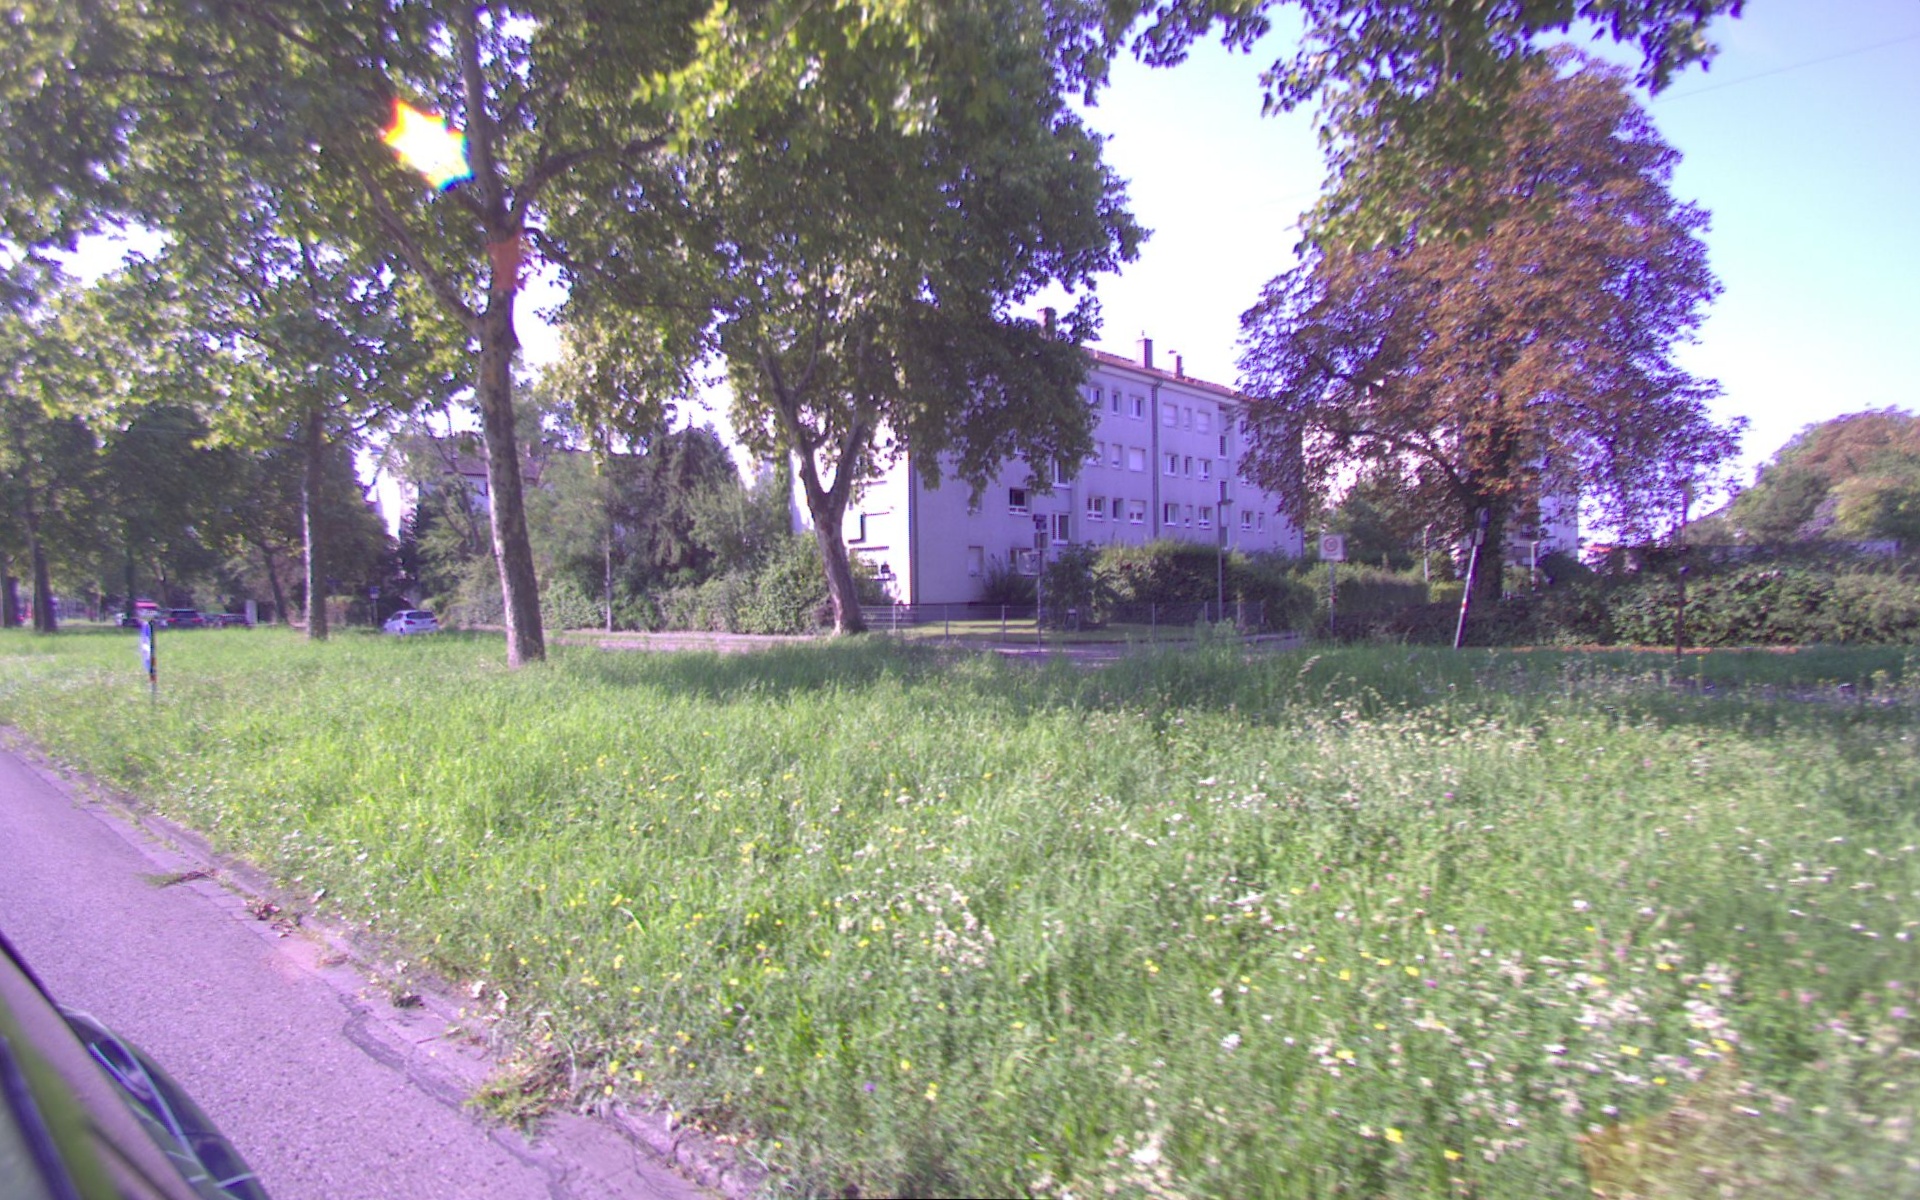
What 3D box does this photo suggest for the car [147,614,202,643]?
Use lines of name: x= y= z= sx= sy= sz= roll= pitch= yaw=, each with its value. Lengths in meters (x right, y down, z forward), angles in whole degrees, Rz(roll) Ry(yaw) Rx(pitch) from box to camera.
car: x=-46.835 y=1.670 z=60.304 sx=4.856 sy=1.628 sz=1.756 roll=-1 pitch=1 yaw=43

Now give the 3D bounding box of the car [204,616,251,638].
car: x=-48.075 y=1.767 z=66.363 sx=3.896 sy=1.374 sz=1.628 roll=-2 pitch=0 yaw=41

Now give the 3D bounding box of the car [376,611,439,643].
car: x=-27.906 y=1.347 z=51.053 sx=3.898 sy=1.490 sz=1.627 roll=-1 pitch=1 yaw=43

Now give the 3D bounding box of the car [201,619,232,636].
car: x=-62.805 y=2.292 z=85.481 sx=3.524 sy=1.301 sz=1.591 roll=-1 pitch=1 yaw=45

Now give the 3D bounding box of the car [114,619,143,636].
car: x=-79.051 y=2.579 z=96.182 sx=3.898 sy=1.490 sz=1.627 roll=-1 pitch=1 yaw=43
